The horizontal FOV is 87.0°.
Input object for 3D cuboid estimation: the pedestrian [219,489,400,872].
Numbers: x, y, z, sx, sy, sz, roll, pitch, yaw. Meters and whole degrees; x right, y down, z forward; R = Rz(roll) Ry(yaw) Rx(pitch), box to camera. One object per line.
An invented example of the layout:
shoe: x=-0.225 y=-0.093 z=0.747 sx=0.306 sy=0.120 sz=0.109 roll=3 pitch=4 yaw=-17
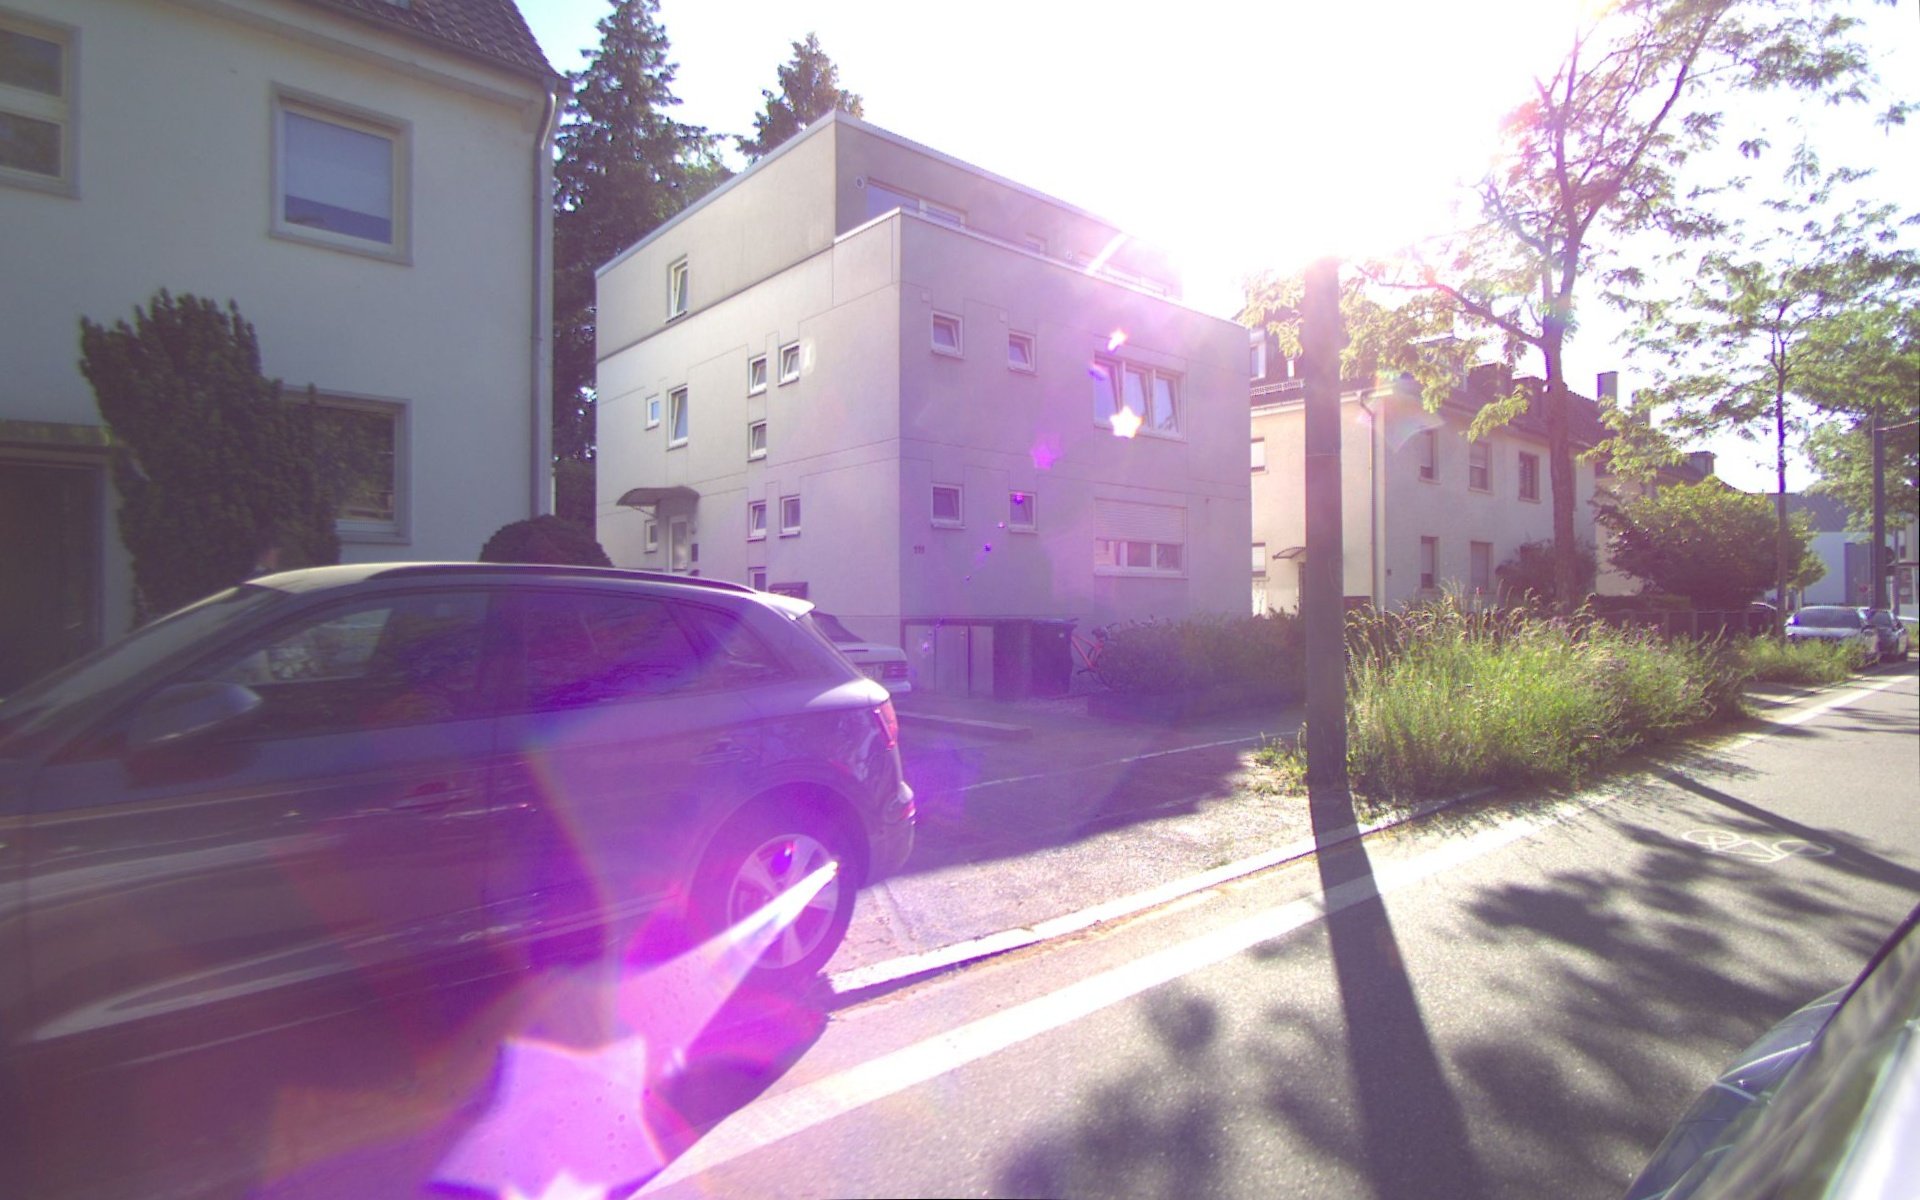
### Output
pedestrian: x=-3.516 y=0.385 z=5.463 sx=0.719 sy=1.893 sz=0.626 roll=0 pitch=2 yaw=-42

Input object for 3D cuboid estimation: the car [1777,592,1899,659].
car: x=21.664 y=0.571 z=24.929 sx=3.927 sy=1.514 sz=1.751 roll=0 pitch=1 yaw=-41

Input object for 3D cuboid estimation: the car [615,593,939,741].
car: x=-2.226 y=0.613 z=11.479 sx=1.844 sy=1.359 sz=4.058 roll=0 pitch=0 yaw=-40

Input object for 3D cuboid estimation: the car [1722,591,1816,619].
car: x=48.708 y=0.308 z=60.954 sx=1.948 sy=1.663 sz=4.168 roll=0 pitch=-1 yaw=-42

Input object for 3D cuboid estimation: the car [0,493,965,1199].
car: x=-2.290 y=0.558 z=3.757 sx=4.400 sy=1.725 sz=1.997 roll=0 pitch=3 yaw=-42

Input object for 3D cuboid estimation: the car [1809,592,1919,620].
car: x=52.808 y=0.340 z=59.049 sx=1.942 sy=1.484 sz=4.624 roll=-2 pitch=1 yaw=-28

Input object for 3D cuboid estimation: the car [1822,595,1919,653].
car: x=26.011 y=0.627 z=28.716 sx=4.366 sy=1.514 sz=1.751 roll=0 pitch=1 yaw=-41
